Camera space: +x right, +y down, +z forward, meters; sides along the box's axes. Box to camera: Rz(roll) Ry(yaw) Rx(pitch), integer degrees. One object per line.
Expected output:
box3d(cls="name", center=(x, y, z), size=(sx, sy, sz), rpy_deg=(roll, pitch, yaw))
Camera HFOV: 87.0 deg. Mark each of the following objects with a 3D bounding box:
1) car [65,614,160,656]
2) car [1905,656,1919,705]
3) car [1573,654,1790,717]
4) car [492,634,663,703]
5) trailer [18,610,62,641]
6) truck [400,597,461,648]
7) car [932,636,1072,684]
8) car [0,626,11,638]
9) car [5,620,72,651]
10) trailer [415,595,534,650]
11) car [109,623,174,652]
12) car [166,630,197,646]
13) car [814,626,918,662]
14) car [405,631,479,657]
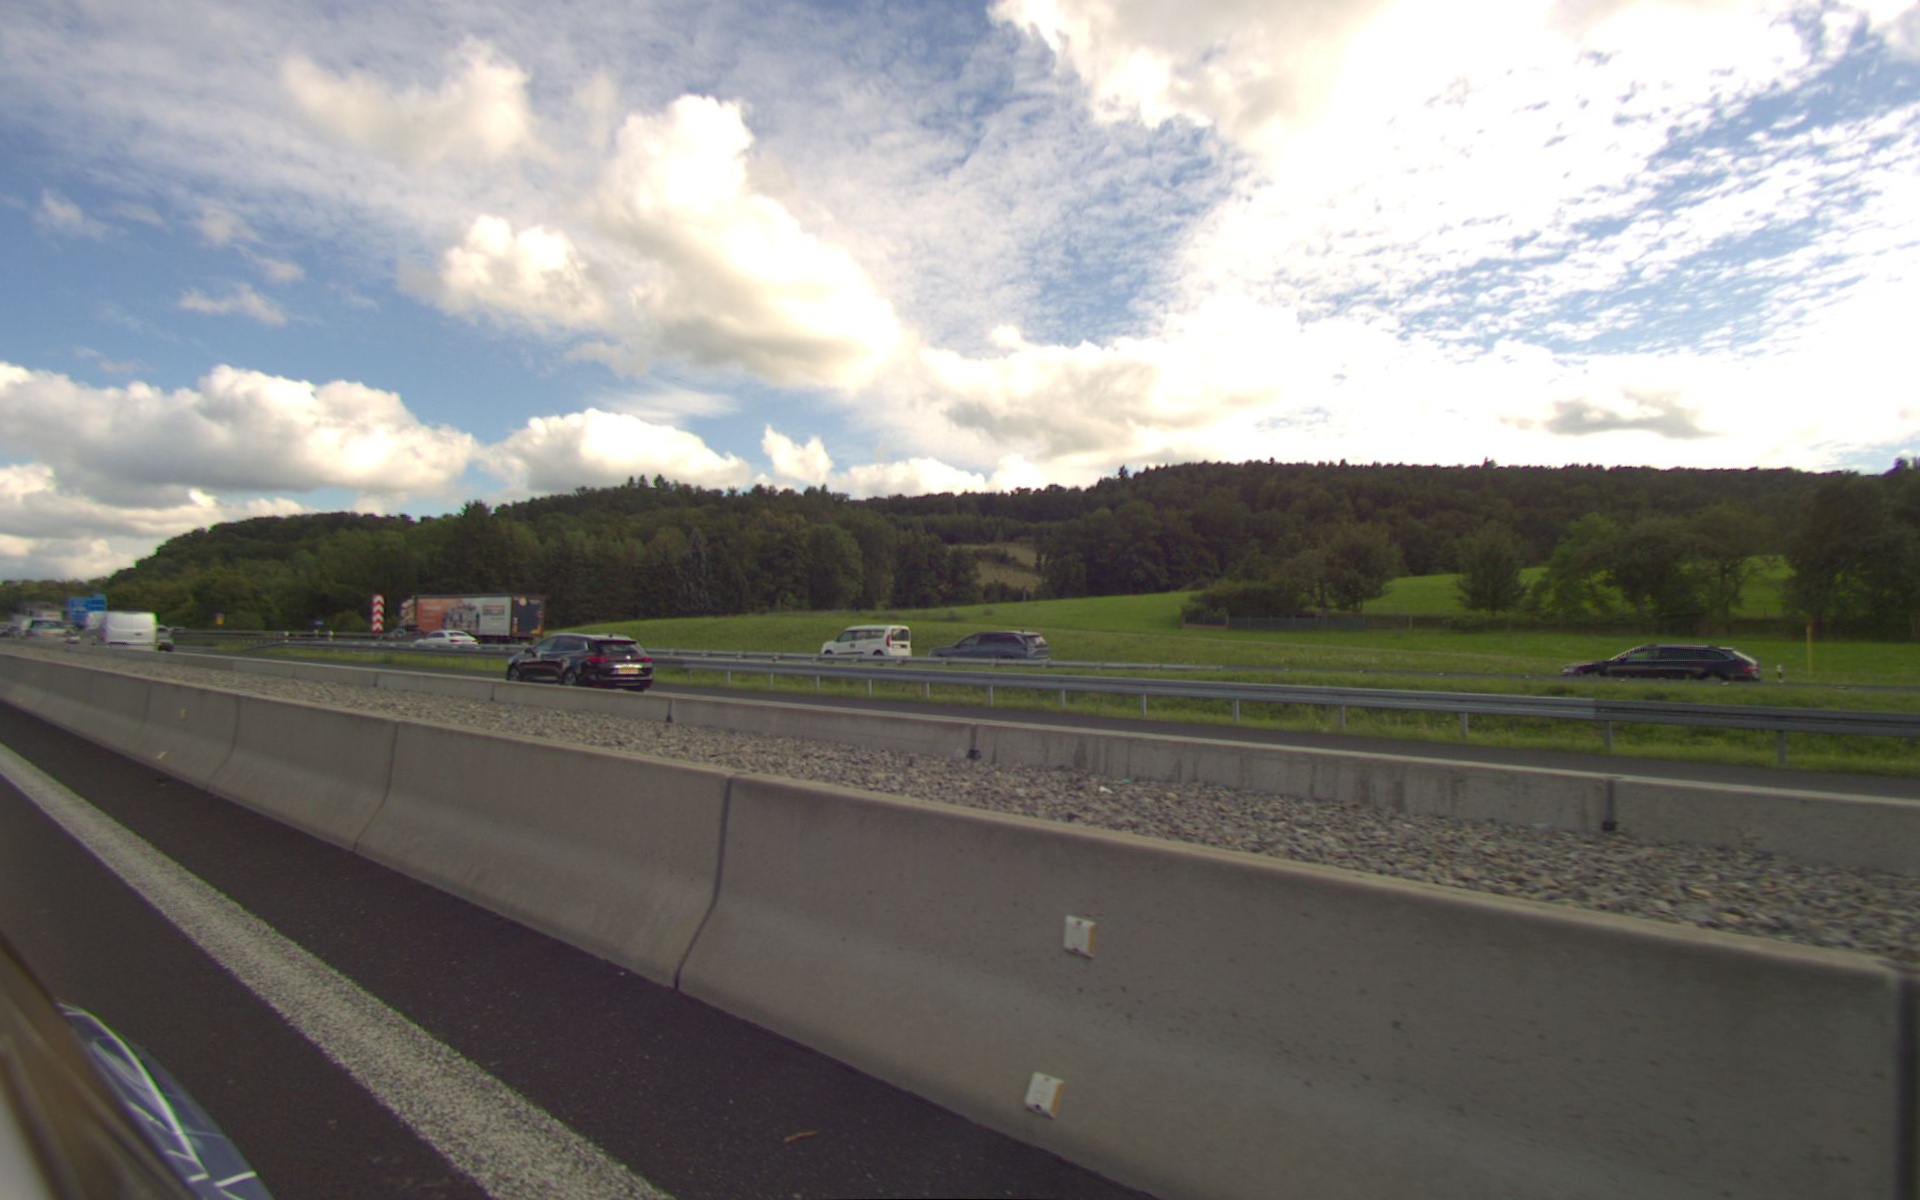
box3d(cls="car", center=(-33.969, 1.382, 40.494), size=(5.744, 1.544, 1.973), rpy_deg=(-1, -3, 41))
box3d(cls="car", center=(32.995, 2.585, 31.600), size=(4.880, 1.560, 1.756), rpy_deg=(-1, -3, 36))
box3d(cls="car", center=(20.411, 2.376, 28.851), size=(4.880, 1.560, 1.756), rpy_deg=(-1, -3, 36))
box3d(cls="car", center=(-9.057, 1.546, 23.753), size=(4.689, 1.412, 1.736), rpy_deg=(-1, -3, 41))
box3d(cls="trailer", center=(-162.236, 4.438, 178.384), size=(14.696, 5.200, 3.079), rpy_deg=(-1, -3, 38))
box3d(cls="truck", center=(-40.658, 1.716, 77.675), size=(5.141, 3.790, 1.975), rpy_deg=(-1, -3, 37))
box3d(cls="car", center=(1.470, 2.117, 36.448), size=(4.880, 1.560, 1.756), rpy_deg=(-1, -3, 36))
box3d(cls="car", center=(-126.558, 4.180, 133.071), size=(4.998, 1.462, 1.973), rpy_deg=(-1, -3, 40))
box3d(cls="car", center=(-48.923, 1.855, 53.696), size=(5.018, 1.544, 1.973), rpy_deg=(-1, -3, 41))
box3d(cls="trailer", center=(-35.632, 1.651, 73.860), size=(13.223, 3.765, 1.975), rpy_deg=(-1, -3, 37))
box3d(cls="car", center=(-44.963, 2.043, 55.580), size=(4.505, 1.544, 1.973), rpy_deg=(-1, -3, 41))
box3d(cls="car", center=(-82.501, 4.031, 107.286), size=(4.300, 1.630, 1.782), rpy_deg=(-1, -3, 42))
box3d(cls="car", center=(-4.423, 2.035, 47.112), size=(4.880, 1.560, 1.756), rpy_deg=(-1, -3, 36))
box3d(cls="car", center=(-29.436, 2.487, 57.480), size=(4.386, 1.411, 1.758), rpy_deg=(0, -3, 33))
